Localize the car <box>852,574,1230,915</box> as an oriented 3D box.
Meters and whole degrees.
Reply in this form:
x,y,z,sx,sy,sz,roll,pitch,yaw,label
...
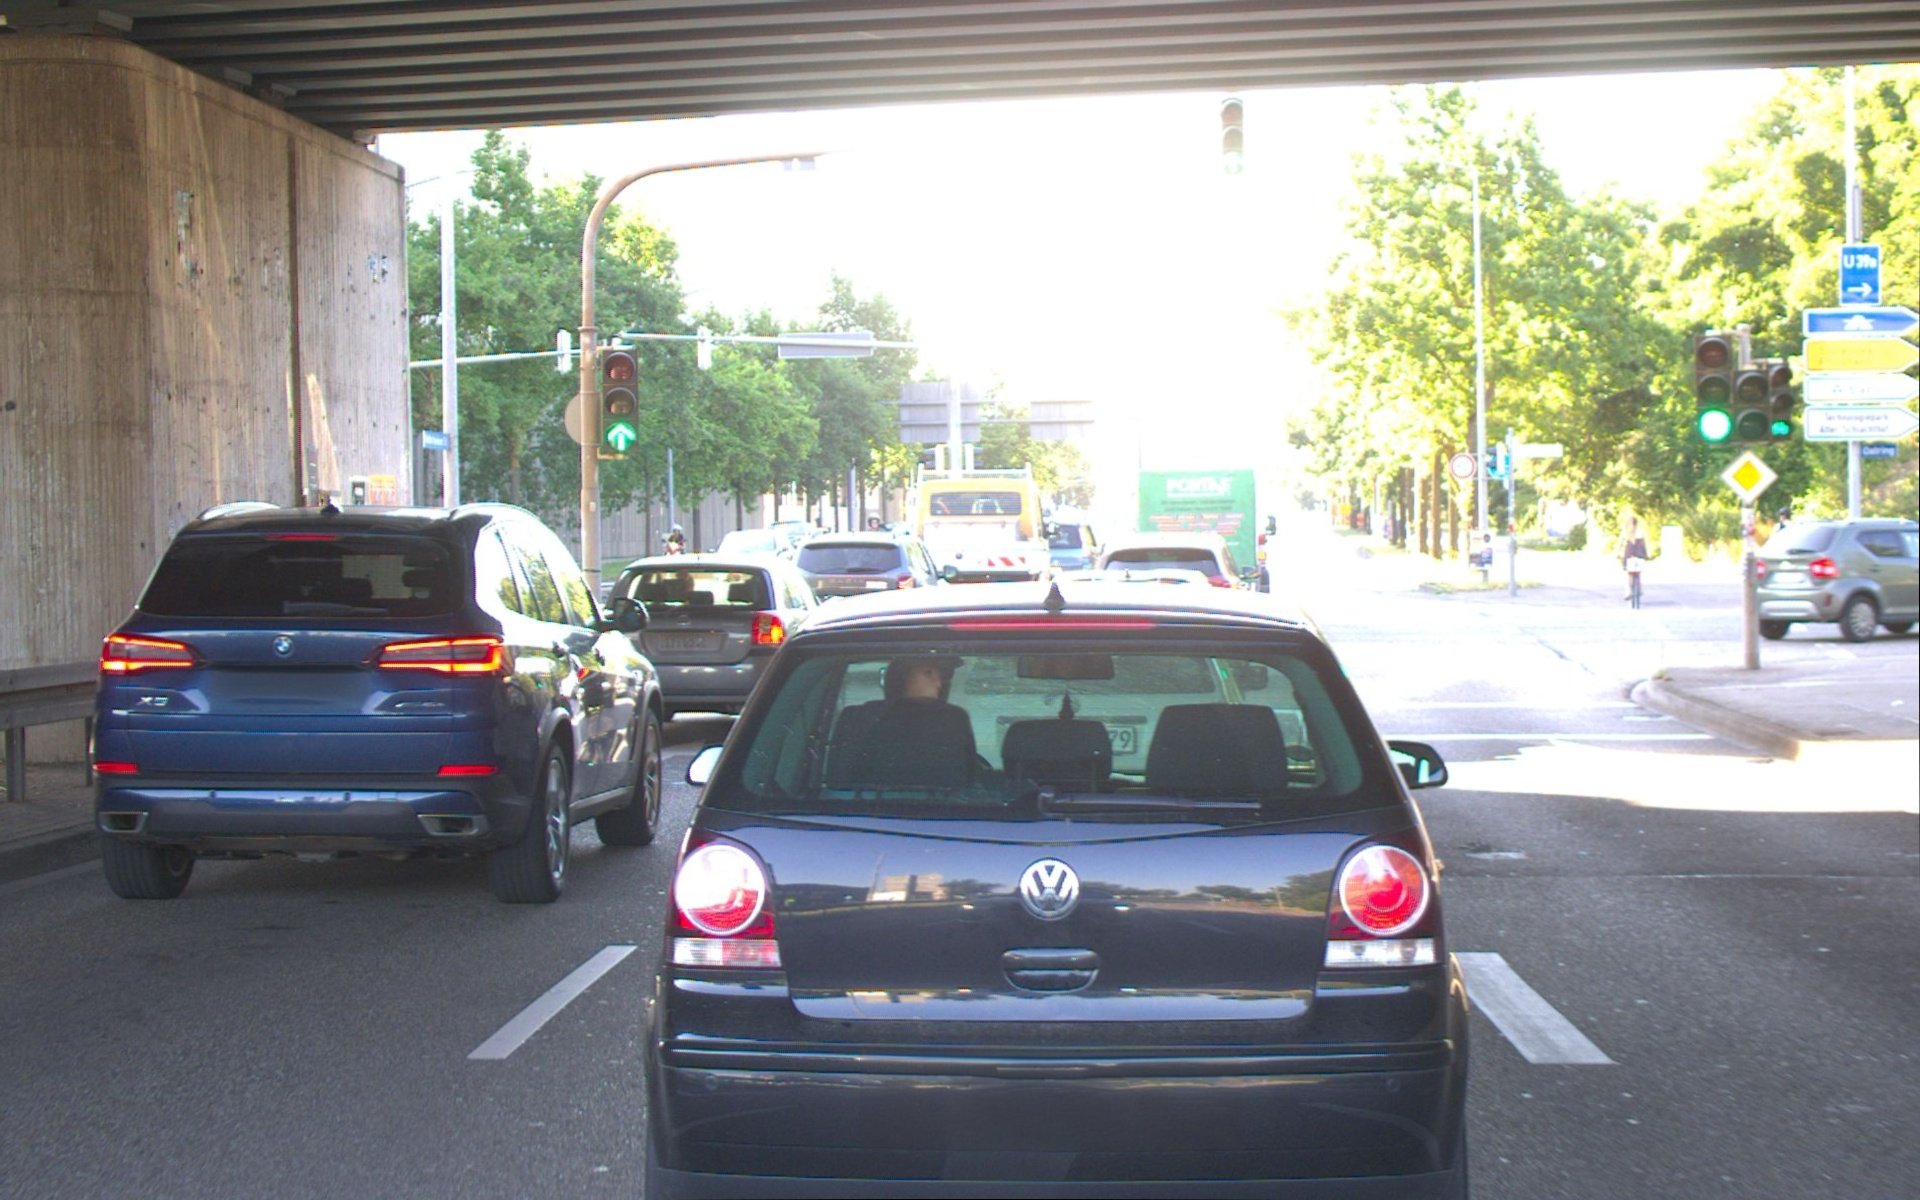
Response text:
x,y,z,sx,sy,sz,roll,pitch,yaw,label
0.343,0.594,16.562,1.578,1.408,4.062,1,1,0,car

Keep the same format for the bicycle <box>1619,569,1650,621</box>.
x,y,z,sx,sy,sz,roll,pitch,yaw,label
12.294,-0.093,62.678,0.437,0.911,1.026,-2,0,6,bicycle

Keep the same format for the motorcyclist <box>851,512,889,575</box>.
x,y,z,sx,sy,sz,roll,pitch,yaw,label
-2.039,-1.290,77.882,0.797,1.345,1.275,-2,3,-1,motorcyclist

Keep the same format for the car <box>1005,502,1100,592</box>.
x,y,z,sx,sy,sz,roll,pitch,yaw,label
1.809,-1.009,66.171,1.617,1.673,3.682,1,1,4,car

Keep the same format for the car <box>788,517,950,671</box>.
x,y,z,sx,sy,sz,roll,pitch,yaw,label
-1.014,-0.087,39.806,1.616,1.673,3.683,1,1,2,car

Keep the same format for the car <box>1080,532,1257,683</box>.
x,y,z,sx,sy,sz,roll,pitch,yaw,label
2.354,0.061,37.933,1.796,1.553,3.999,1,1,5,car

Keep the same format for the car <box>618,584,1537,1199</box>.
x,y,z,sx,sy,sz,roll,pitch,yaw,label
0.258,0.688,7.947,1.616,1.405,3.683,1,1,2,car

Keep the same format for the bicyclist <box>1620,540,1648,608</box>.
x,y,z,sx,sy,sz,roll,pitch,yaw,label
12.293,-0.468,62.708,0.427,1.229,0.460,-1,0,6,bicyclist

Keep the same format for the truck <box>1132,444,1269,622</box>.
x,y,z,sx,sy,sz,roll,pitch,yaw,label
3.786,-1.025,53.666,1.996,2.659,3.999,1,1,5,truck

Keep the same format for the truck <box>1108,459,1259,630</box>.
x,y,z,sx,sy,sz,roll,pitch,yaw,label
3.223,-0.772,48.922,1.996,2.307,3.999,1,1,5,truck

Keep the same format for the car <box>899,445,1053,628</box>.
x,y,z,sx,sy,sz,roll,pitch,yaw,label
0.247,-0.928,51.227,2.136,2.567,5.087,1,1,0,car

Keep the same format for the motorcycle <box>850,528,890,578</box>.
x,y,z,sx,sy,sz,roll,pitch,yaw,label
-2.034,-1.069,77.805,0.840,1.072,2.401,-3,2,-1,motorcycle

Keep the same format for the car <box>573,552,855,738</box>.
x,y,z,sx,sy,sz,roll,pitch,yaw,label
-1.954,0.330,28.260,1.617,1.405,3.682,1,1,7,car

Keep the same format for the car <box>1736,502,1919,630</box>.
x,y,z,sx,sy,sz,roll,pitch,yaw,label
12.351,-0.439,45.763,4.050,1.625,1.742,0,1,-38,car

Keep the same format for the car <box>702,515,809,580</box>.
x,y,z,sx,sy,sz,roll,pitch,yaw,label
-4.847,-1.236,82.014,1.994,1.470,4.080,1,1,4,car

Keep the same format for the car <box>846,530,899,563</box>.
x,y,z,sx,sy,sz,roll,pitch,yaw,label
-4.097,-2.518,162.265,1.994,1.396,4.348,-4,0,4,car

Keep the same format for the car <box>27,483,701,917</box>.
x,y,z,sx,sy,sz,roll,pitch,yaw,label
-2.600,0.380,16.215,1.994,1.728,4.532,1,1,5,car
